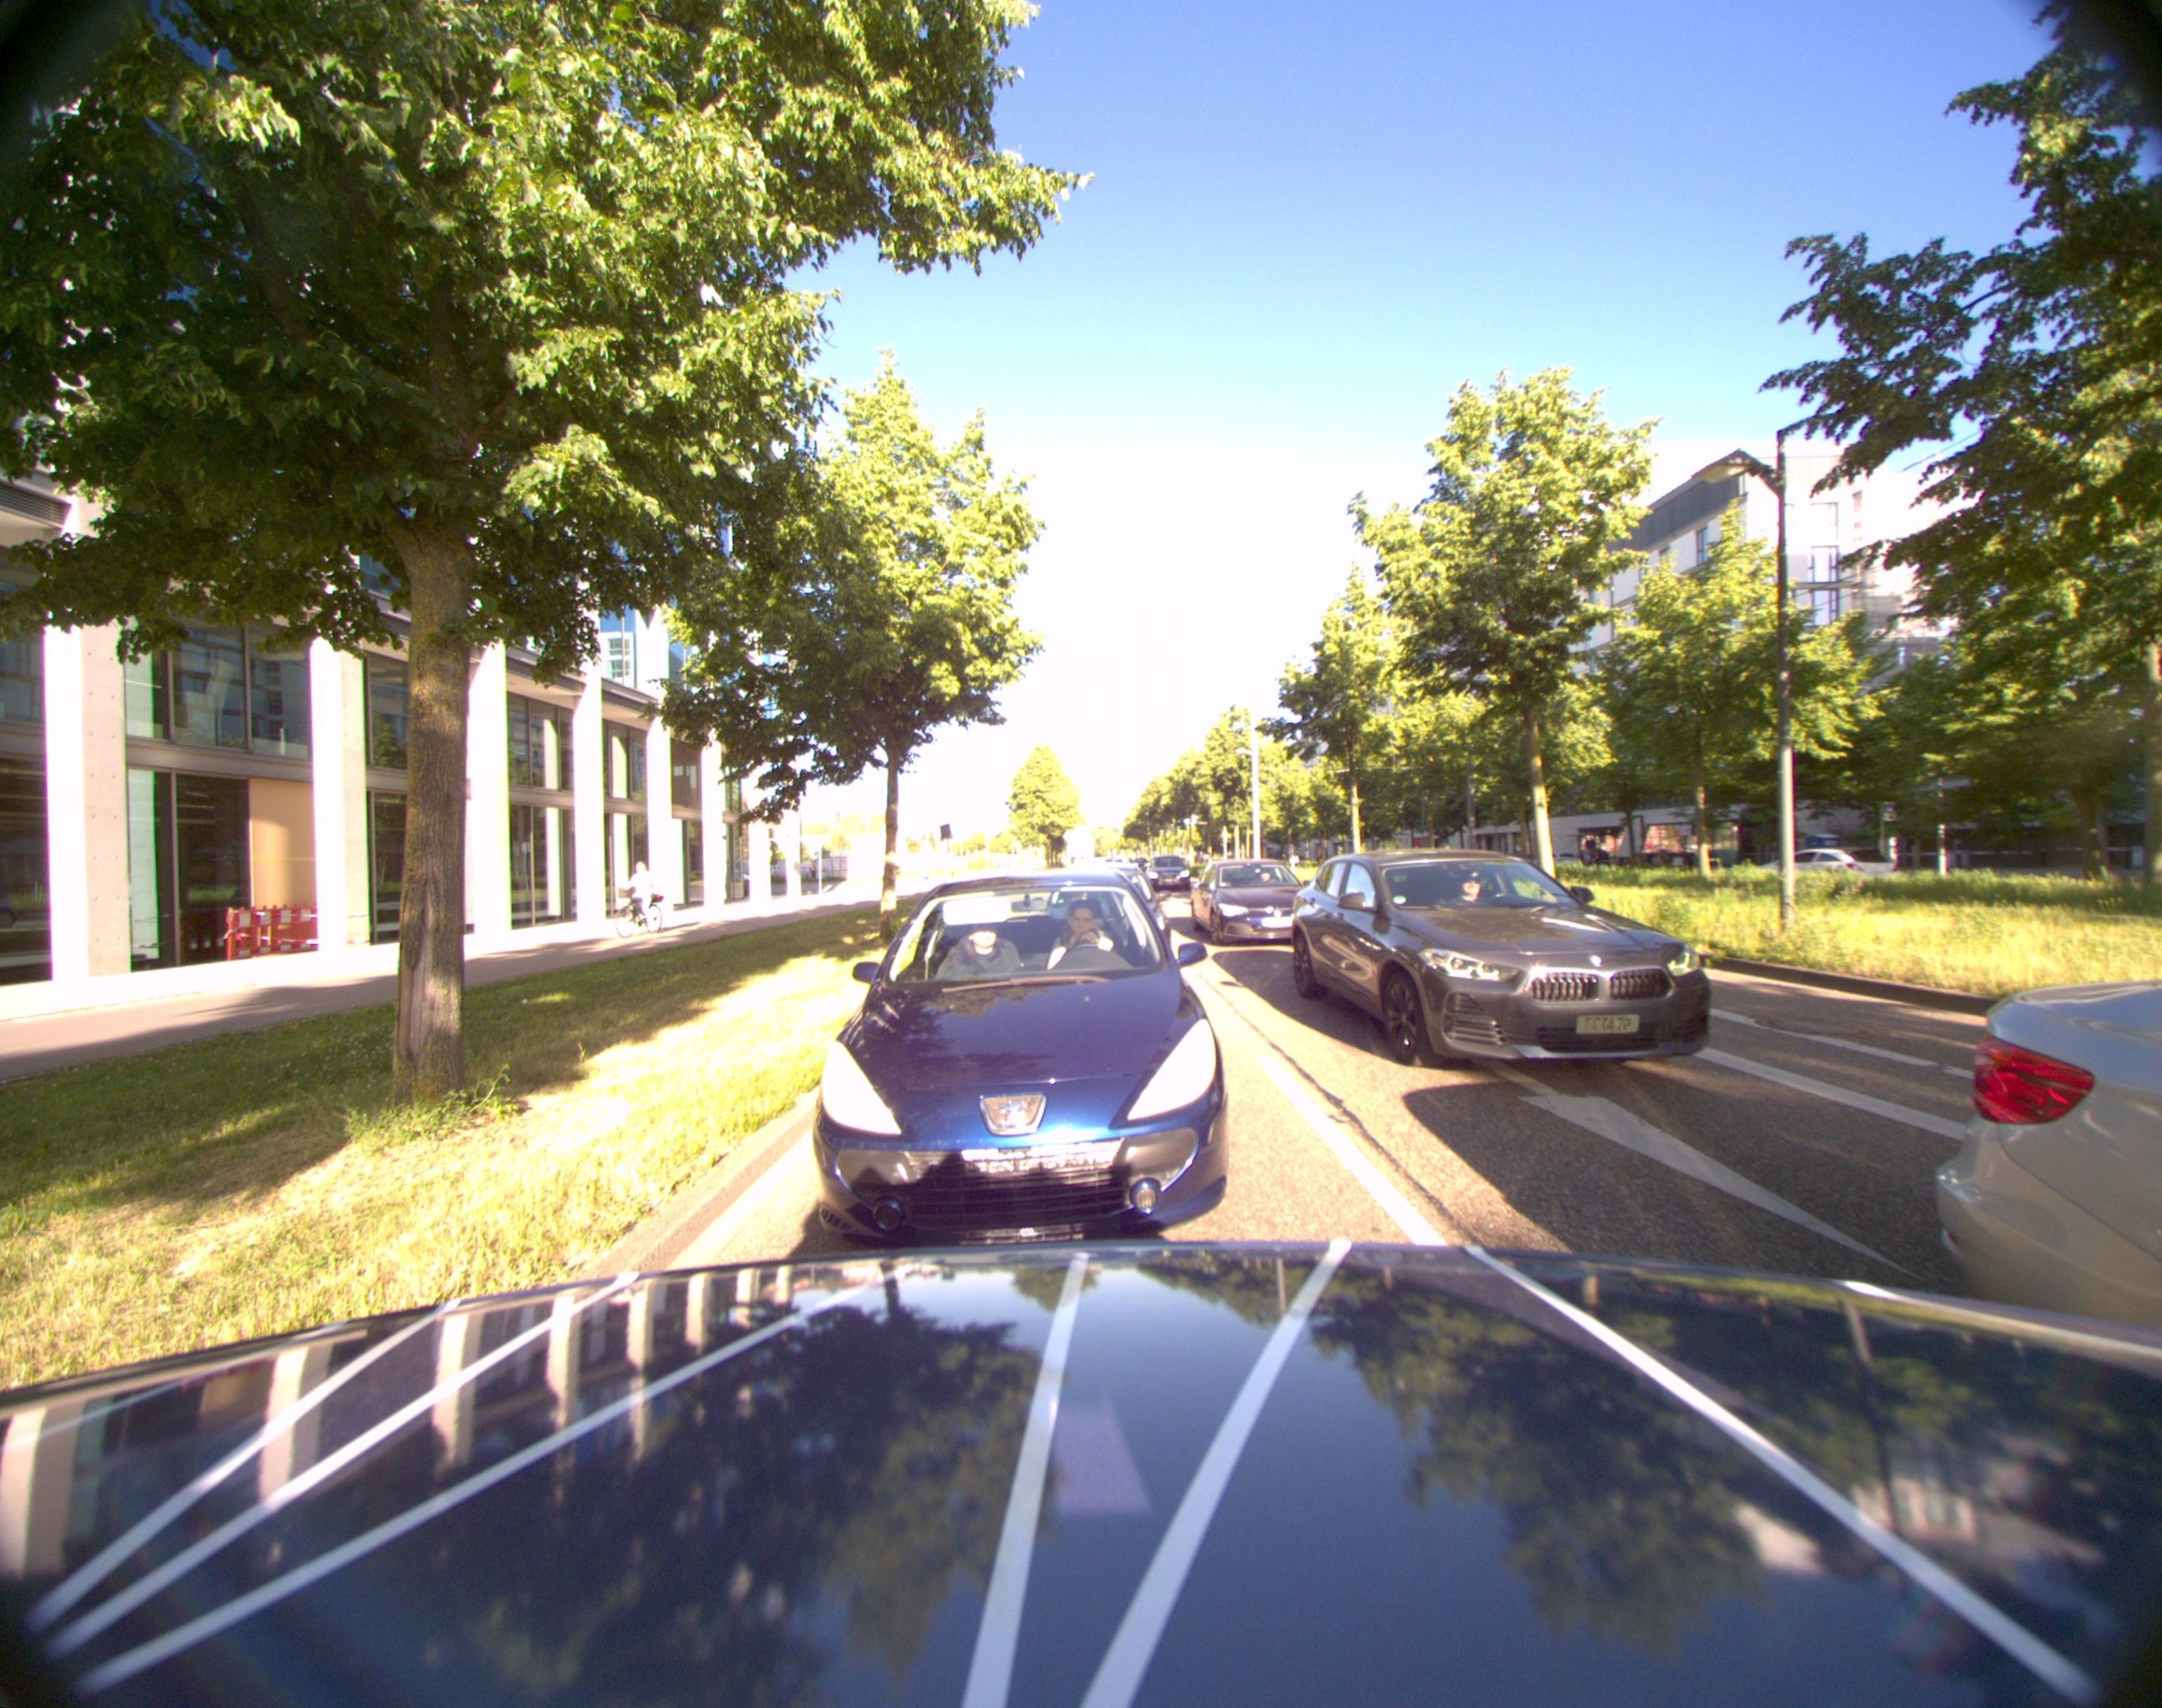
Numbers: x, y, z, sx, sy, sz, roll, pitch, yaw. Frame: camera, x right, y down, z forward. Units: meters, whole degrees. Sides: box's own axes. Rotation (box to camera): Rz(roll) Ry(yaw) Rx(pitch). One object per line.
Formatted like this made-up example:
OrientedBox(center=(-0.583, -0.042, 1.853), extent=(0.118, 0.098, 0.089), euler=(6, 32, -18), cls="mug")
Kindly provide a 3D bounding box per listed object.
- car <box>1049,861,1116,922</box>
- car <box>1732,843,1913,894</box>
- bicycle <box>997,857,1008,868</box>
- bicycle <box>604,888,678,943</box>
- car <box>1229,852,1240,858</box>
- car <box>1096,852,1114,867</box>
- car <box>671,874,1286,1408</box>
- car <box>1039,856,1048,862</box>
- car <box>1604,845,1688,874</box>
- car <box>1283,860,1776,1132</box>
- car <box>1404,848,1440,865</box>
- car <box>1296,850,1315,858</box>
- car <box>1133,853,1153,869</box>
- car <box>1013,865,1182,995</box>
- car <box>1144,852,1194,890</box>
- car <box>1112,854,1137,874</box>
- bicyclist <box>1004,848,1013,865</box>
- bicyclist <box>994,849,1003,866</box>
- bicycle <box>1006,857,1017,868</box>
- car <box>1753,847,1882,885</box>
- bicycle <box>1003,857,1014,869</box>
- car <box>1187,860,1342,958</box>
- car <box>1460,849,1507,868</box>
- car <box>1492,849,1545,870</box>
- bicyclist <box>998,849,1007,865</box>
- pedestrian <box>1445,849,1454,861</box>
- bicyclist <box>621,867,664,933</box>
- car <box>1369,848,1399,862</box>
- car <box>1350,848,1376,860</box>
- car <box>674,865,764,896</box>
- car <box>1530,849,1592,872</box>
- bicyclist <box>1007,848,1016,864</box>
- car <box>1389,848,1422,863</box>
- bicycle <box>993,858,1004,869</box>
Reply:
OrientedBox(center=(0.089, 1.009, 21.882), extent=(1.724, 1.516, 4.000), euler=(-1, 0, 1), cls="car")
OrientedBox(center=(25.496, 0.445, 26.391), extent=(1.803, 1.474, 4.568), euler=(-5, 0, 1), cls="car")
OrientedBox(center=(-10.142, 1.136, 98.608), extent=(0.931, 1.355, 4.000), euler=(-1, 0, 1), cls="bicycle")
OrientedBox(center=(-10.315, 1.406, 17.889), extent=(0.591, 1.149, 1.928), euler=(1, 0, 1), cls="bicycle")
OrientedBox(center=(36.117, 0.167, 179.229), extent=(1.998, 1.387, 4.001), euler=(-1, 0, 4), cls="car")
OrientedBox(center=(2.716, 0.631, 86.523), extent=(1.879, 1.561, 4.344), euler=(-1, 0, 1), cls="car")
OrientedBox(center=(-0.285, 0.946, 4.572), extent=(1.846, 1.473, 4.481), euler=(-2, 0, 1), cls="car")
OrientedBox(center=(-9.095, 1.198, 184.917), extent=(1.998, 1.556, 4.835), euler=(-1, 0, 1), cls="car")
OrientedBox(center=(33.715, 0.294, 45.467), extent=(1.951, 1.588, 4.184), euler=(-1, 0, 1), cls="car")
OrientedBox(center=(3.090, 0.834, 6.345), extent=(1.861, 1.482, 4.000), euler=(-1, 0, 2), cls="car")
OrientedBox(center=(35.033, 0.261, 78.193), extent=(1.884, 1.588, 4.184), euler=(-1, 0, 1), cls="car")
OrientedBox(center=(36.612, 0.005, 124.151), extent=(1.998, 1.387, 4.000), euler=(-1, 0, 1), cls="car")
OrientedBox(center=(6.706, 0.748, 82.513), extent=(1.878, 1.561, 4.344), euler=(-1, 0, 2), cls="car")
OrientedBox(center=(0.224, 0.951, 11.454), extent=(1.998, 1.437, 4.622), euler=(-1, 0, 1), cls="car")
OrientedBox(center=(3.946, 0.743, 34.728), extent=(1.878, 1.577, 4.344), euler=(-1, 0, 2), cls="car")
OrientedBox(center=(3.473, 0.793, 61.553), extent=(1.878, 1.561, 4.344), euler=(-1, 0, 2), cls="car")
OrientedBox(center=(-9.042, 0.340, 94.433), extent=(0.931, 2.045, 1.121), euler=(-1, 1, 1), cls="bicyclist")
OrientedBox(center=(-10.210, 0.416, 94.232), extent=(0.931, 2.045, 1.121), euler=(-1, 1, 1), cls="bicyclist")
OrientedBox(center=(-8.991, 1.063, 98.684), extent=(0.931, 1.355, 4.000), euler=(-1, 0, 1), cls="bicycle")
OrientedBox(center=(34.088, 0.534, 35.349), extent=(1.951, 1.588, 4.184), euler=(-1, 0, 1), cls="car")
OrientedBox(center=(-9.021, 1.102, 94.529), extent=(0.931, 1.355, 4.000), euler=(-1, 0, 1), cls="bicycle")
OrientedBox(center=(3.110, 0.858, 13.794), extent=(1.878, 1.415, 4.344), euler=(-1, 0, 2), cls="car")
OrientedBox(center=(35.157, 0.357, 66.511), extent=(1.884, 1.588, 4.184), euler=(-1, 0, 1), cls="car")
OrientedBox(center=(35.191, 0.403, 61.229), extent=(1.884, 1.588, 4.184), euler=(-1, 0, 1), cls="car")
OrientedBox(center=(-10.142, 0.375, 98.336), extent=(0.931, 2.045, 1.121), euler=(-1, 1, 1), cls="bicyclist")
OrientedBox(center=(42.520, 0.095, 87.682), extent=(0.604, 1.331, 0.660), euler=(-1, 1, 1), cls="pedestrian")
OrientedBox(center=(-10.308, 1.065, 17.882), extent=(0.591, 1.530, 0.699), euler=(1, 0, 1), cls="bicyclist")
OrientedBox(center=(35.503, 0.135, 89.022), extent=(1.884, 1.588, 4.184), euler=(-1, 0, 1), cls="car")
OrientedBox(center=(35.233, 0.005, 94.988), extent=(1.998, 1.387, 4.001), euler=(-1, 0, 4), cls="car")
OrientedBox(center=(-20.039, 1.431, 42.148), extent=(3.996, 1.569, 2.000), euler=(-1, 0, 3), cls="car")
OrientedBox(center=(34.901, 0.470, 55.418), extent=(1.884, 1.588, 4.184), euler=(-1, 0, 1), cls="car")
OrientedBox(center=(-8.993, 0.300, 98.594), extent=(0.931, 2.045, 1.121), euler=(-1, 1, 1), cls="bicyclist")
OrientedBox(center=(35.445, 0.191, 83.101), extent=(1.884, 1.588, 4.184), euler=(-1, 0, 1), cls="car")
OrientedBox(center=(-10.201, 1.179, 94.221), extent=(0.931, 1.355, 4.000), euler=(-1, 0, 1), cls="bicycle")
